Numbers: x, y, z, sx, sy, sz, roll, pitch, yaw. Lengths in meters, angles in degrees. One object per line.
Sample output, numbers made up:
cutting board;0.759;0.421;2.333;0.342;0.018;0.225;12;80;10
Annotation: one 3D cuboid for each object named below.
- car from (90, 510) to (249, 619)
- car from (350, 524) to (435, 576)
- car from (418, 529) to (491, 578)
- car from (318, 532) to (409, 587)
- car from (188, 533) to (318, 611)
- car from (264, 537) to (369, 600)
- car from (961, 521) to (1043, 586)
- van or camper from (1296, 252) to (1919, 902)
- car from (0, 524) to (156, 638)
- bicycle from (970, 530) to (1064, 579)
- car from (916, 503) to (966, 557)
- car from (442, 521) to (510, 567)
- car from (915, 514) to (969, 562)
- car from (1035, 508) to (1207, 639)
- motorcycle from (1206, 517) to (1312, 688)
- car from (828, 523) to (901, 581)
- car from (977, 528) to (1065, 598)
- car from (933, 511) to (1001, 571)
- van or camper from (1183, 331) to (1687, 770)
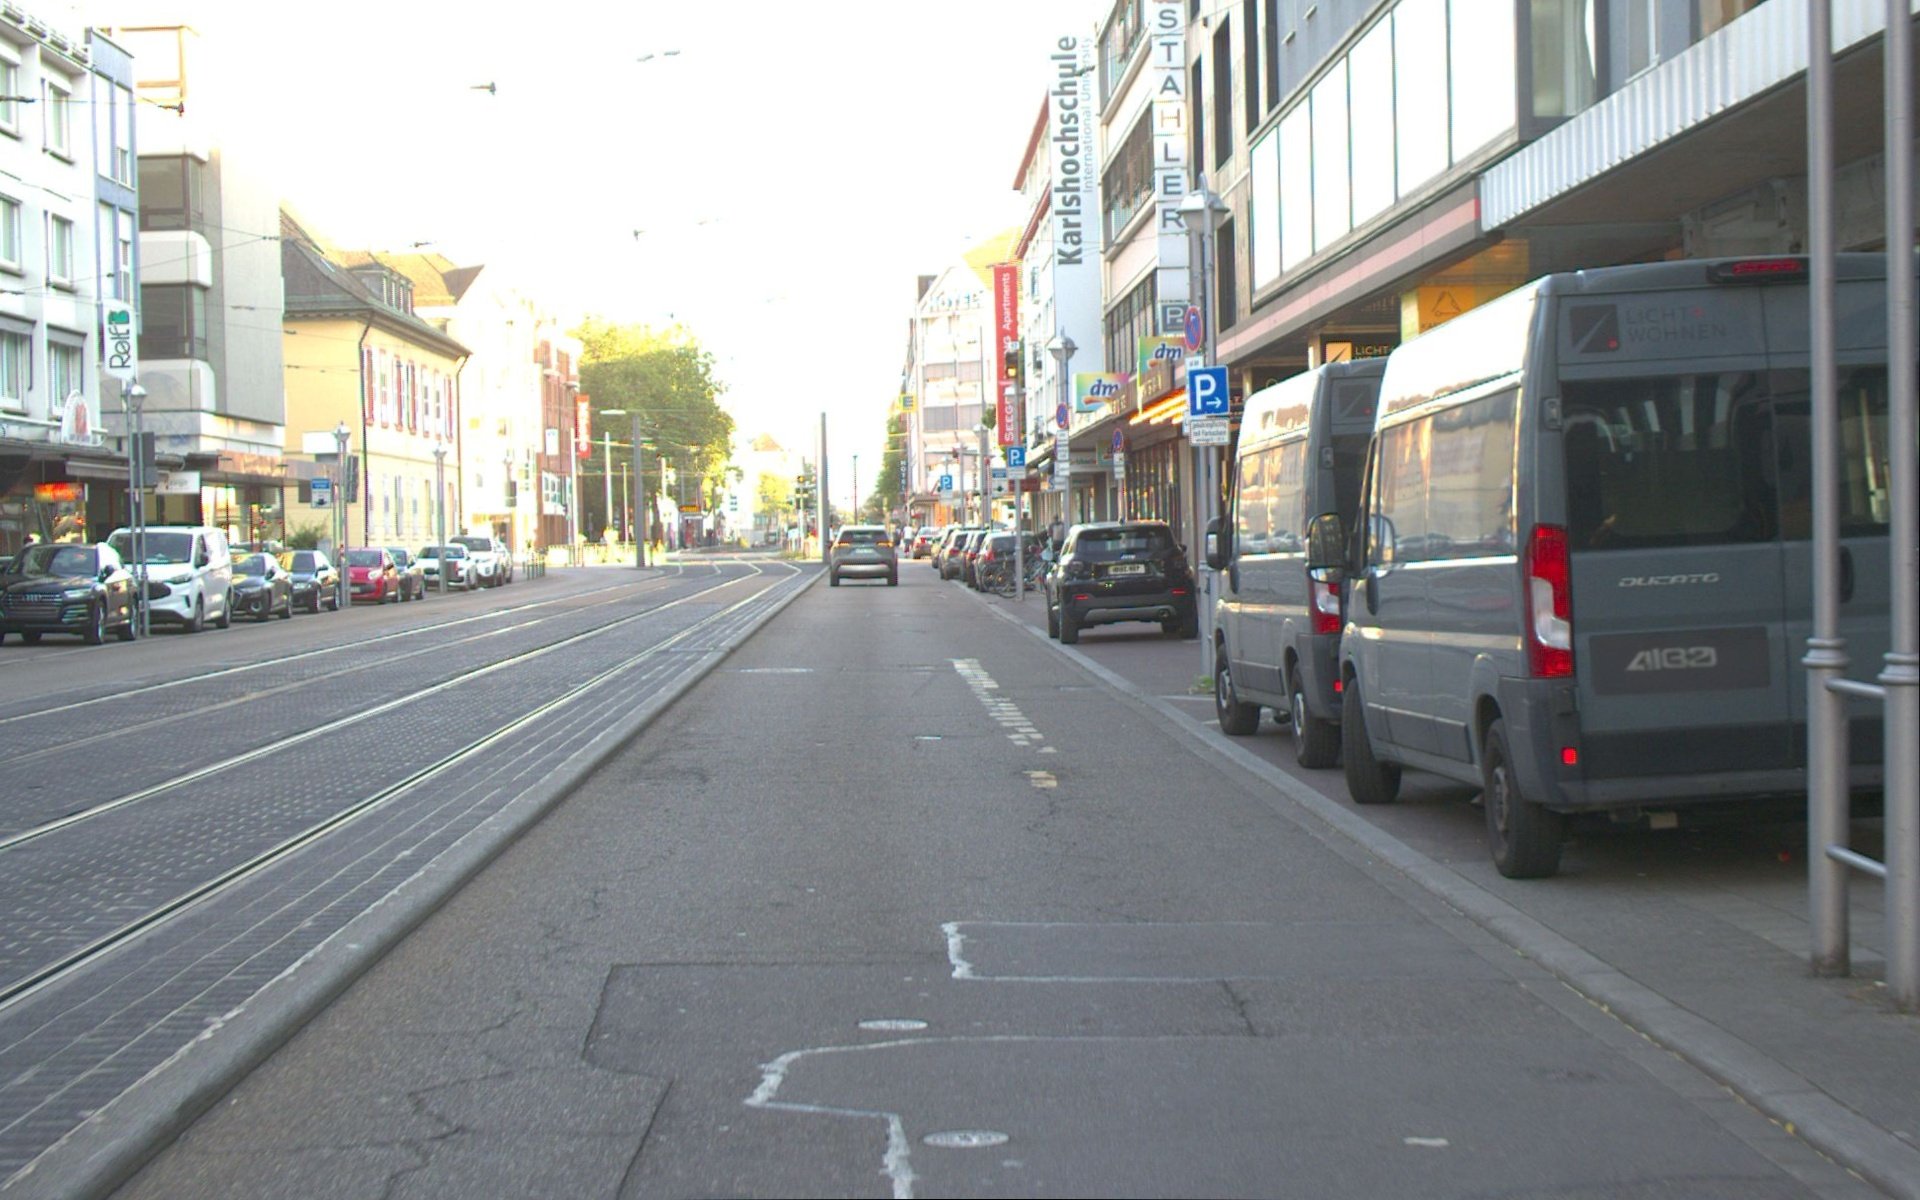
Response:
car;-14.732;-0.687;64.309;1.917;1.929;4.842;1;1;-1
car;-15.415;-1.379;93.492;1.790;1.334;3.892;1;1;-2
car;-15.655;-1.466;106.675;1.790;1.444;3.892;1;1;-2
car;-15.274;-1.063;88.174;1.790;1.334;3.892;1;1;-2
car;-14.786;-0.612;72.116;1.917;1.516;4.630;1;1;-2
car;-14.649;-0.738;78.415;1.790;1.334;3.892;1;1;-2
car;1.074;-1.244;89.791;1.944;1.539;4.545;-3;1;0
van or camper;3.142;-0.172;16.340;2.188;2.418;6.133;-3;1;-2
car;-14.656;-0.354;56.480;1.917;1.757;4.430;1;1;-1
bicycle;1.314;-1.058;79.891;2.118;1.086;0.592;-1;1;-3
car;-0.806;-2.934;143.560;1.944;2.138;4.545;-3;1;0
car;-15.847;-1.854;112.711;1.790;1.444;3.892;1;1;-2
car;-0.707;-2.399;131.718;1.944;1.697;4.545;-3;1;0
car;2.079;-0.389;45.538;1.944;1.539;4.545;-3;1;0
motorcycle;2.663;0.002;30.421;0.813;1.412;2.004;-2;2;7
car;-2.648;-1.358;95.895;1.943;1.539;4.545;0;1;-1
car;1.456;-0.922;83.582;1.944;1.539;4.545;-3;1;0
car;0.193;-1.815;105.086;1.944;1.697;4.545;-3;1;0
van or camper;2.933;-0.348;22.645;2.188;2.418;5.518;-3;1;-3
